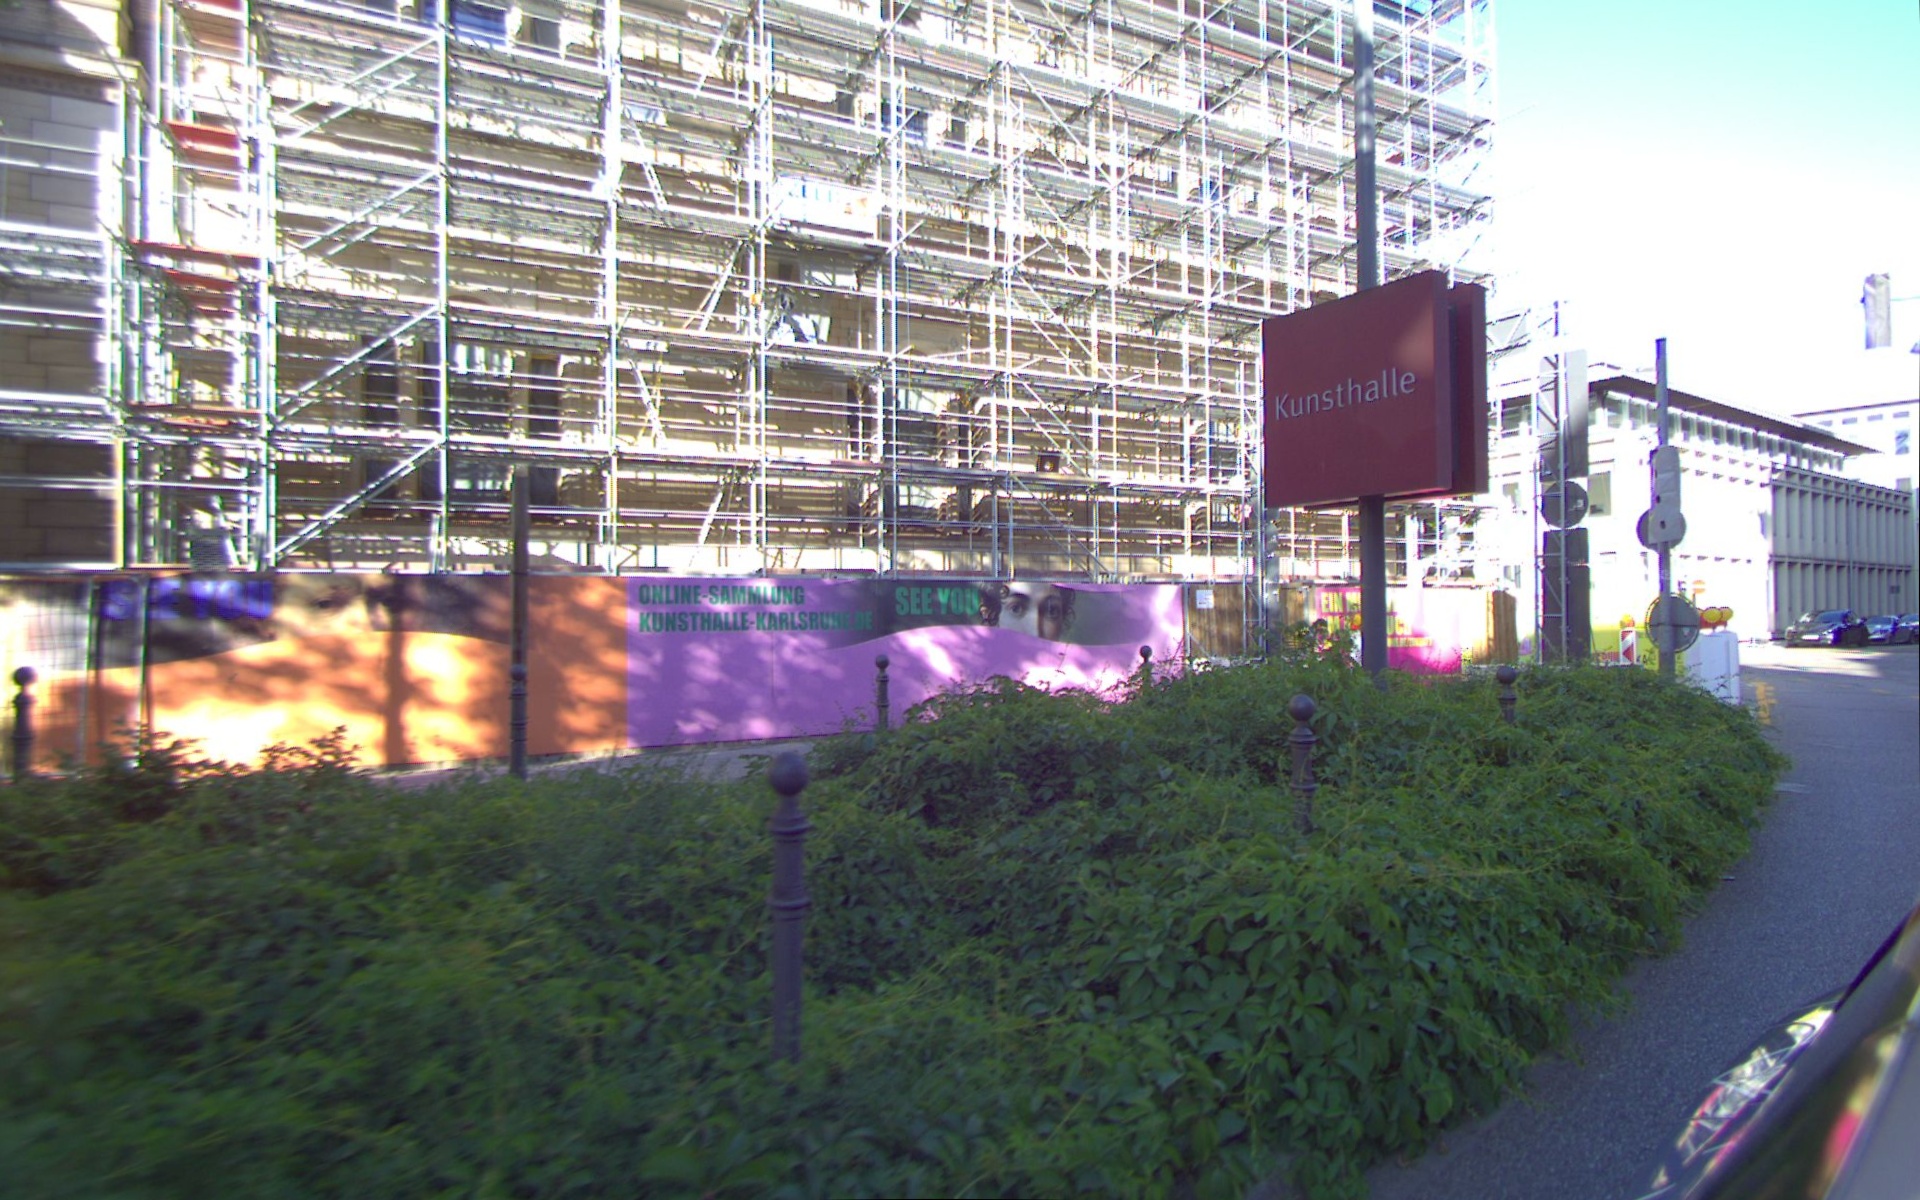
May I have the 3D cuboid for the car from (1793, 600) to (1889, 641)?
[{"bbox_3d":[37.214,0.859,42.715,4.532,1.644,1.900,0,-2,-34],"label":"car"}]

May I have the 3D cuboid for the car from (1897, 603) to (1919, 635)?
[{"bbox_3d":[47.716,0.896,49.516,4.700,1.489,1.702,0,-2,-35],"label":"car"}]

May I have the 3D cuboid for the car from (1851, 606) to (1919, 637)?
[{"bbox_3d":[42.773,0.956,46.330,4.507,1.361,1.703,0,-2,-32],"label":"car"}]
